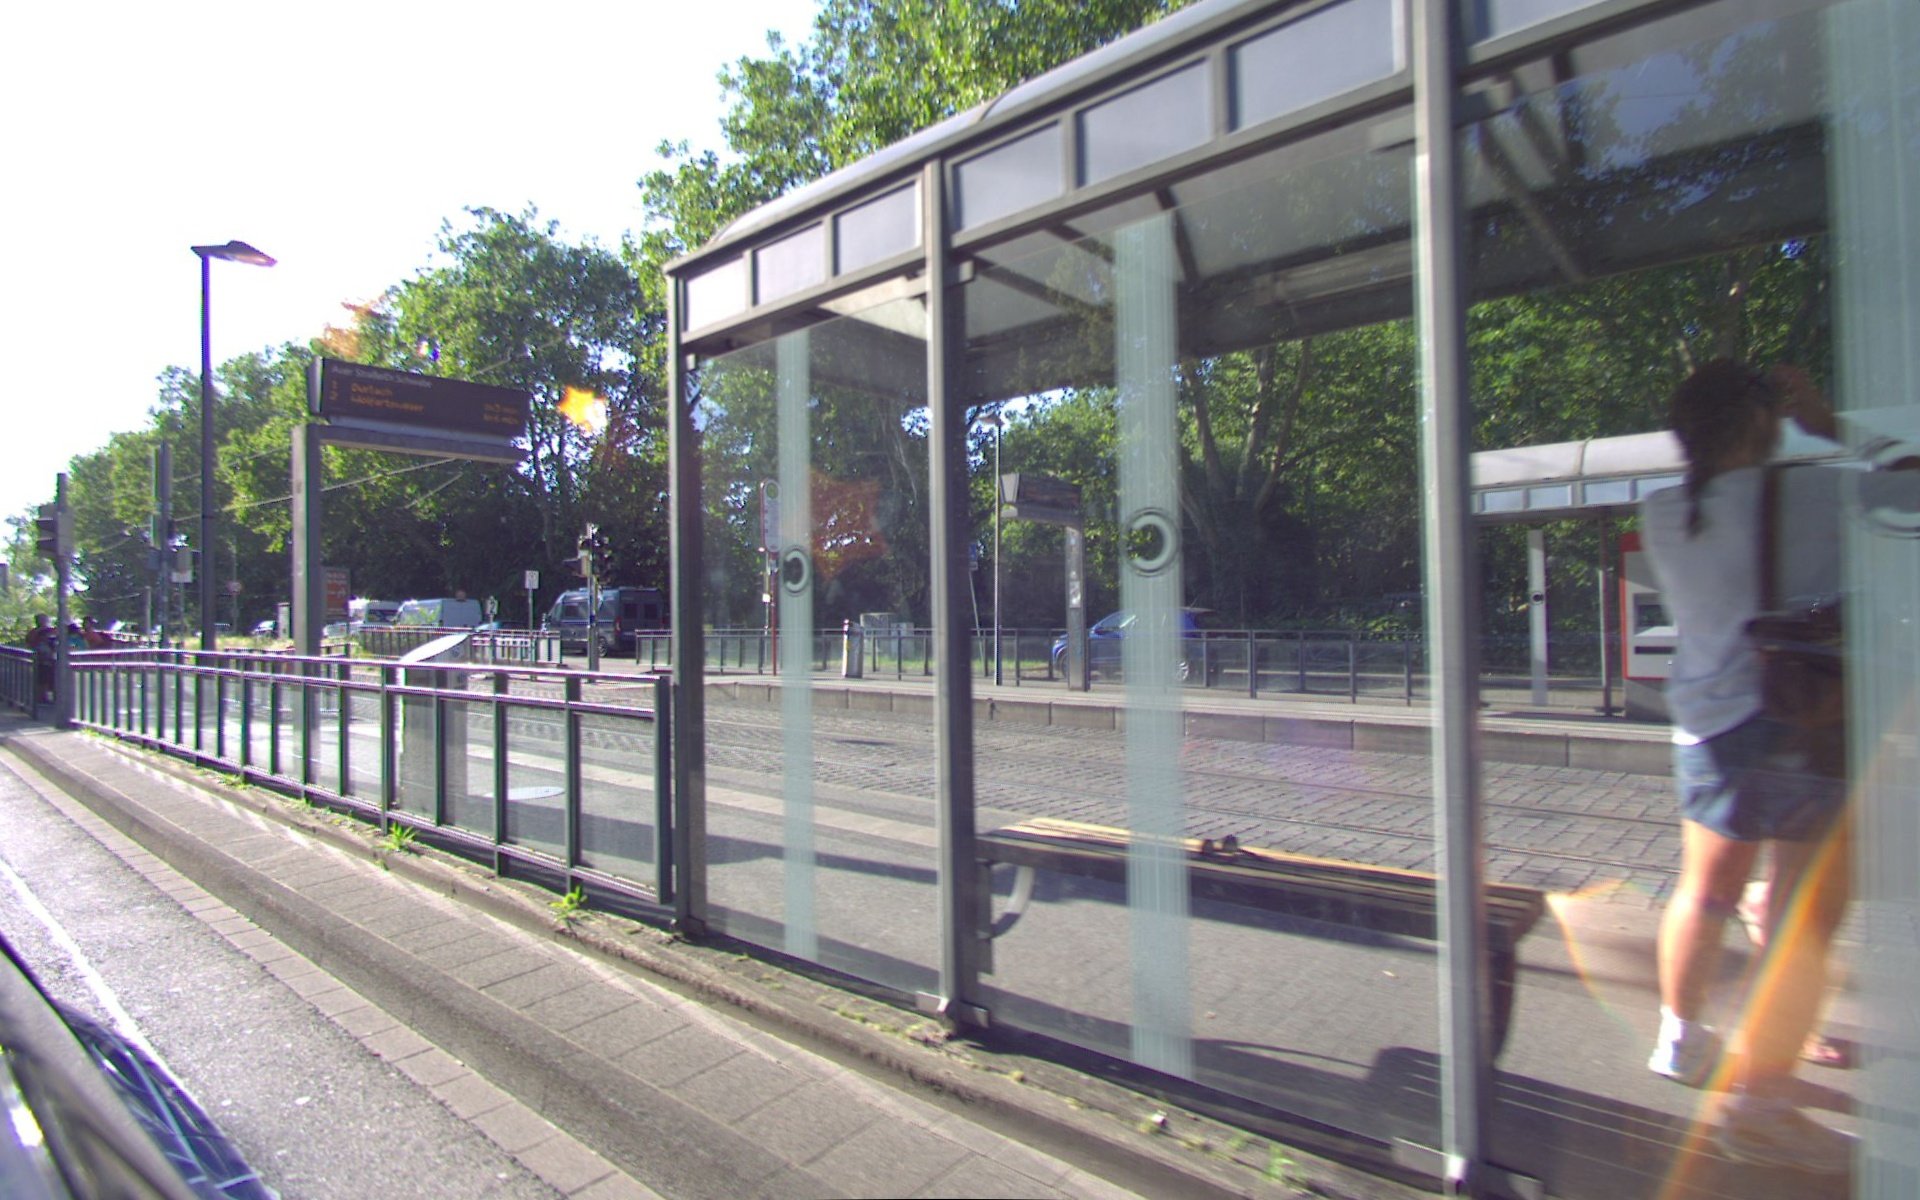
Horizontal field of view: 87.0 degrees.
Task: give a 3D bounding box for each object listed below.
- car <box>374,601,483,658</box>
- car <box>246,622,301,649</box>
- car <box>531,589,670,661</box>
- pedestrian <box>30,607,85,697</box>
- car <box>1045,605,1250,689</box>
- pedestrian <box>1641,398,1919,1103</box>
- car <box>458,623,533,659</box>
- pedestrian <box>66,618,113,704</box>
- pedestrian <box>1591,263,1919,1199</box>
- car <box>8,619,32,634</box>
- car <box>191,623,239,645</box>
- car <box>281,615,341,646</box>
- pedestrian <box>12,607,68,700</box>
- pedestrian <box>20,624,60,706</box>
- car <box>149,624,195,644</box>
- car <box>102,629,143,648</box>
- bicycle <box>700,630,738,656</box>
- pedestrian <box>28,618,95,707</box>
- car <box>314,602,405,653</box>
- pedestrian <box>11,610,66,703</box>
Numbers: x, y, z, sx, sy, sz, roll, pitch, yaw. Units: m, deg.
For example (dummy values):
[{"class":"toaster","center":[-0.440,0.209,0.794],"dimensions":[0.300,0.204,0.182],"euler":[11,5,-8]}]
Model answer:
[{"class":"car","center":[-25.379,1.375,48.216],"dimensions":[6.263,2.540,2.162],"euler":[-1,-2,38]},{"class":"car","center":[-41.968,2.180,61.861],"dimensions":[3.878,1.567,1.721],"euler":[-1,-2,39]},{"class":"car","center":[-13.725,0.941,38.468],"dimensions":[6.027,2.540,2.161],"euler":[-1,-2,40]},{"class":"pedestrian","center":[-16.120,0.926,18.086],"dimensions":[0.512,1.580,0.509],"euler":[2,-2,-19]},{"class":"car","center":[4.029,0.979,21.982],"dimensions":[3.967,1.664,1.884],"euler":[-1,-2,38]},{"class":"pedestrian","center":[2.201,0.336,2.600],"dimensions":[0.650,1.578,0.582],"euler":[-1,0,42]},{"class":"car","center":[-20.224,1.767,44.046],"dimensions":[3.261,1.524,1.636],"euler":[-1,-2,38]},{"class":"pedestrian","center":[-15.285,1.067,17.781],"dimensions":[0.514,1.483,0.514],"euler":[-1,-3,42]},{"class":"pedestrian","center":[1.806,0.284,2.018],"dimensions":[0.791,1.707,0.734],"euler":[-1,0,42]},{"class":"car","center":[-117.393,3.332,126.387],"dimensions":[3.896,1.753,1.713],"euler":[-1,-2,39]},{"class":"car","center":[-51.274,2.356,69.626],"dimensions":[3.848,1.448,1.721],"euler":[-1,-2,39]},{"class":"car","center":[-37.312,1.736,58.156],"dimensions":[3.878,1.741,1.721],"euler":[-1,-2,39]},{"class":"pedestrian","center":[-15.997,0.929,17.607],"dimensions":[0.512,1.580,0.509],"euler":[2,-2,-19]},{"class":"pedestrian","center":[-15.258,1.065,16.781],"dimensions":[0.359,1.331,0.411],"euler":[-1,-3,41]},{"class":"car","center":[-59.471,2.560,76.374],"dimensions":[4.319,1.448,1.809],"euler":[-1,-2,39]},{"class":"car","center":[-70.333,3.188,84.953],"dimensions":[4.390,1.517,1.809],"euler":[-1,-2,39]},{"class":"bicycle","center":[-9.973,1.754,41.864],"dimensions":[1.863,1.037,0.575],"euler":[-1,-2,43]},{"class":"pedestrian","center":[-14.682,1.017,16.540],"dimensions":[0.555,1.417,0.587],"euler":[0,-2,21]},{"class":"car","center":[-31.572,1.414,53.127],"dimensions":[6.044,2.540,2.162],"euler":[-1,-2,39]},{"class":"pedestrian","center":[-15.604,0.953,17.134],"dimensions":[0.514,1.531,0.583],"euler":[-1,-3,42]}]
